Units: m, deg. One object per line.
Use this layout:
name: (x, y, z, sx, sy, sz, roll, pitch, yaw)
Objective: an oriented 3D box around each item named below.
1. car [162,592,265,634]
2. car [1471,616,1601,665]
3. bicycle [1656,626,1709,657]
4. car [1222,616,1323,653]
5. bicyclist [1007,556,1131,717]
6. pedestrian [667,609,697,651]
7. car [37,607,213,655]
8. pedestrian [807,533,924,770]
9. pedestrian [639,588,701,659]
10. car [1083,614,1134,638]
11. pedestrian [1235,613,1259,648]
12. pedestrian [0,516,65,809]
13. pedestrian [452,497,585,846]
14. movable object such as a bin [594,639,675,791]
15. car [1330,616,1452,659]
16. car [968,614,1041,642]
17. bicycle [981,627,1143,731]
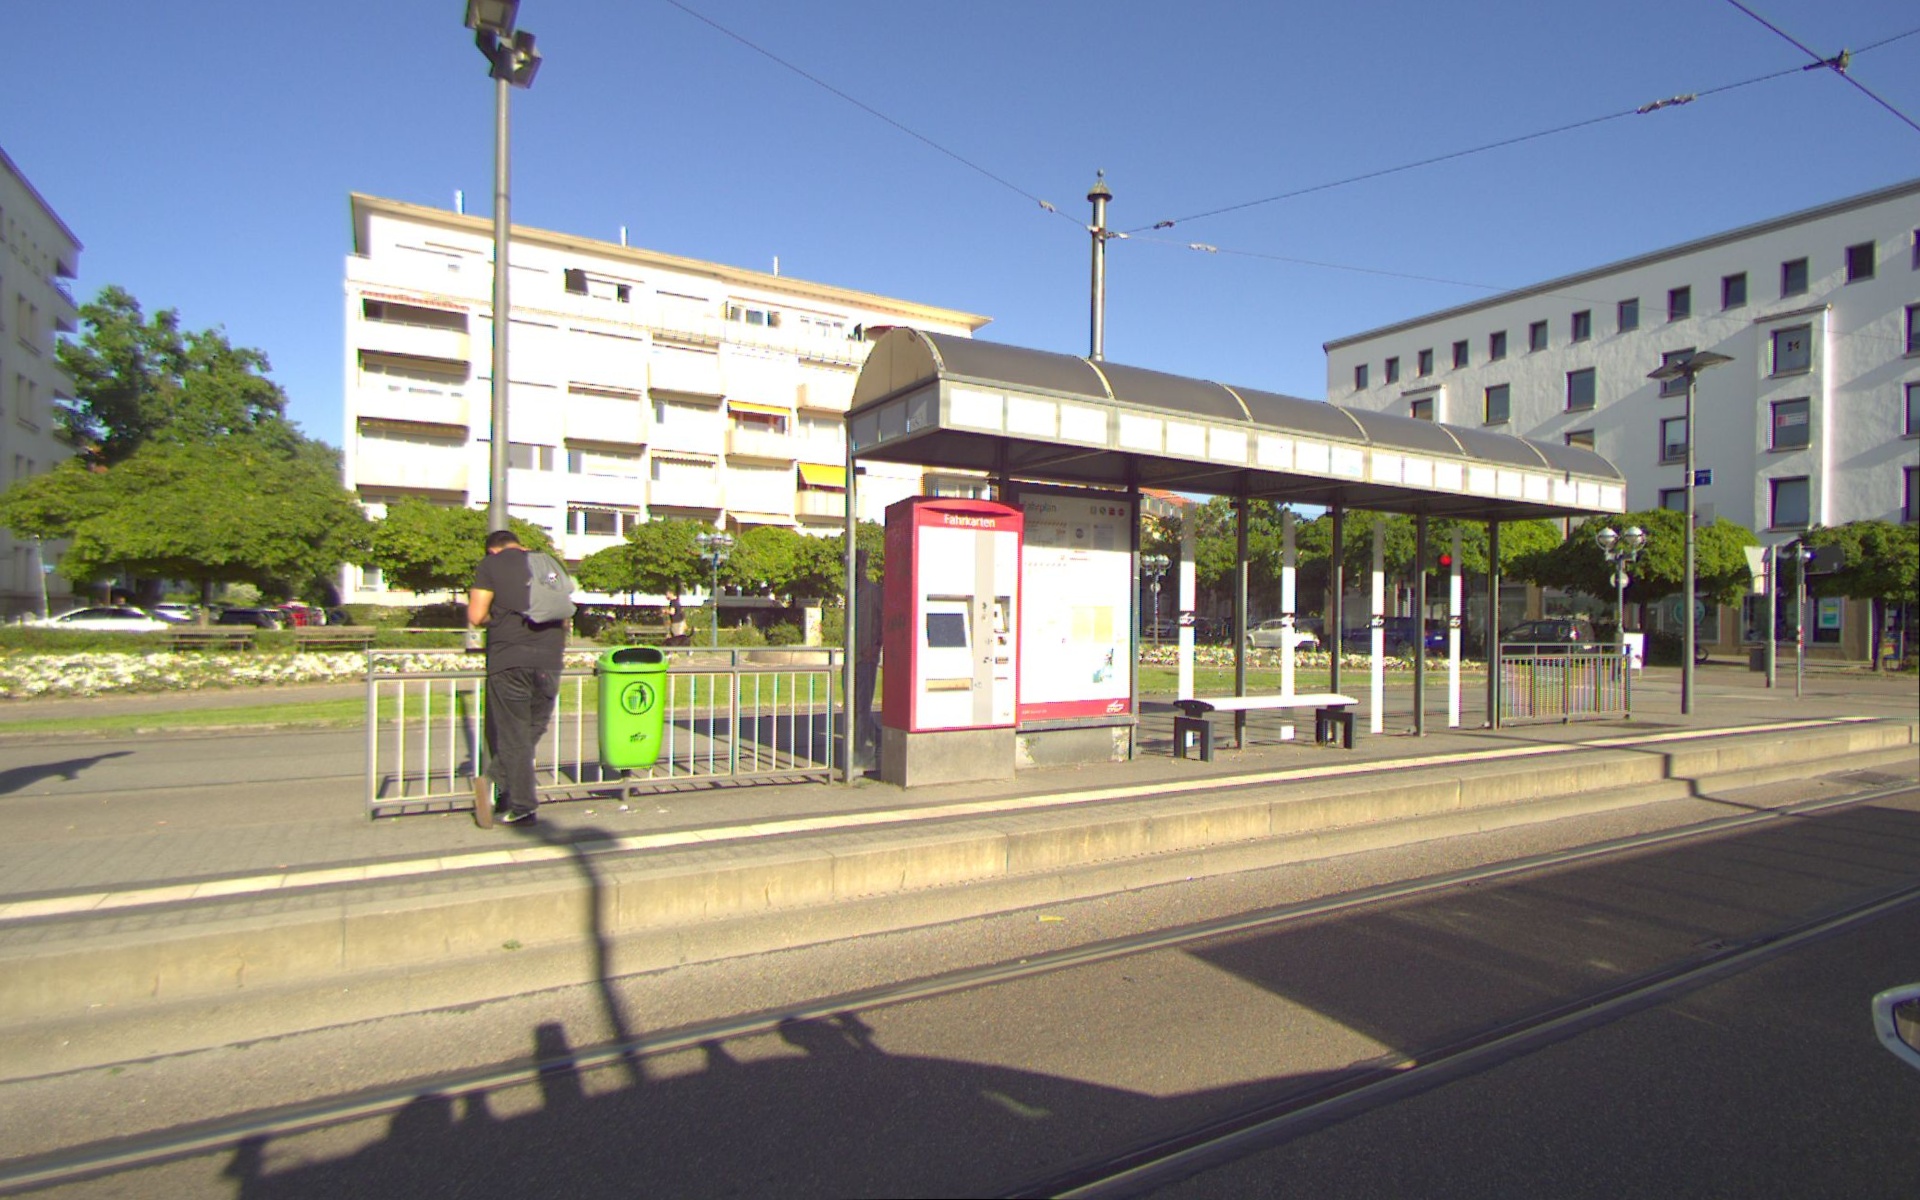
car: (-27.873, 0.484, 37.601, 2.899, 1.506, 1.407, 1, 0, -30)
car: (21.892, 1.506, 38.322, 1.804, 1.728, 3.968, 1, -1, -30)
bicycle: (29.036, 1.656, 40.337, 2.586, 1.206, 0.615, 1, 0, -27)
car: (15.007, 1.632, 48.455, 1.835, 1.628, 4.581, 1, -1, -31)
bicyclist: (1.306, 0.420, 12.067, 1.086, 1.817, 0.996, 1, 0, -38)
pedestrian: (-9.436, 1.004, 34.098, 0.672, 1.378, 1.042, 1, -1, -34)
car: (-24.522, 0.907, 29.700, 3.672, 1.318, 1.984, 1, -1, -30)
pedestrian: (-0.766, 0.410, 8.088, 0.760, 1.797, 0.613, 1, -3, -28)
pedestrian: (-7.650, 0.616, 26.519, 1.154, 1.811, 1.081, 1, 0, 20)
car: (10.055, 1.722, 67.707, 1.887, 1.514, 4.343, 2, 0, 31)
pedestrian: (15.531, 1.630, 54.326, 0.856, 1.841, 0.944, 1, 0, -19)
pedestrian: (-6.088, 0.360, 5.777, 0.976, 1.702, 0.975, 0, -1, 7)
pedestrian: (-2.381, 0.369, 5.407, 0.599, 1.740, 0.546, 1, -2, -28)
movable object such as a bin: (-1.965, 0.675, 6.055, 0.411, 0.871, 0.335, 1, 0, -27)
car: (18.566, 1.590, 43.451, 1.978, 1.684, 4.581, 1, -1, -31)
car: (2.225, 1.391, 50.239, 3.271, 1.372, 1.638, 1, 0, -29)
bicycle: (1.250, 0.904, 12.063, 2.018, 1.141, 0.706, 1, -1, -39)
